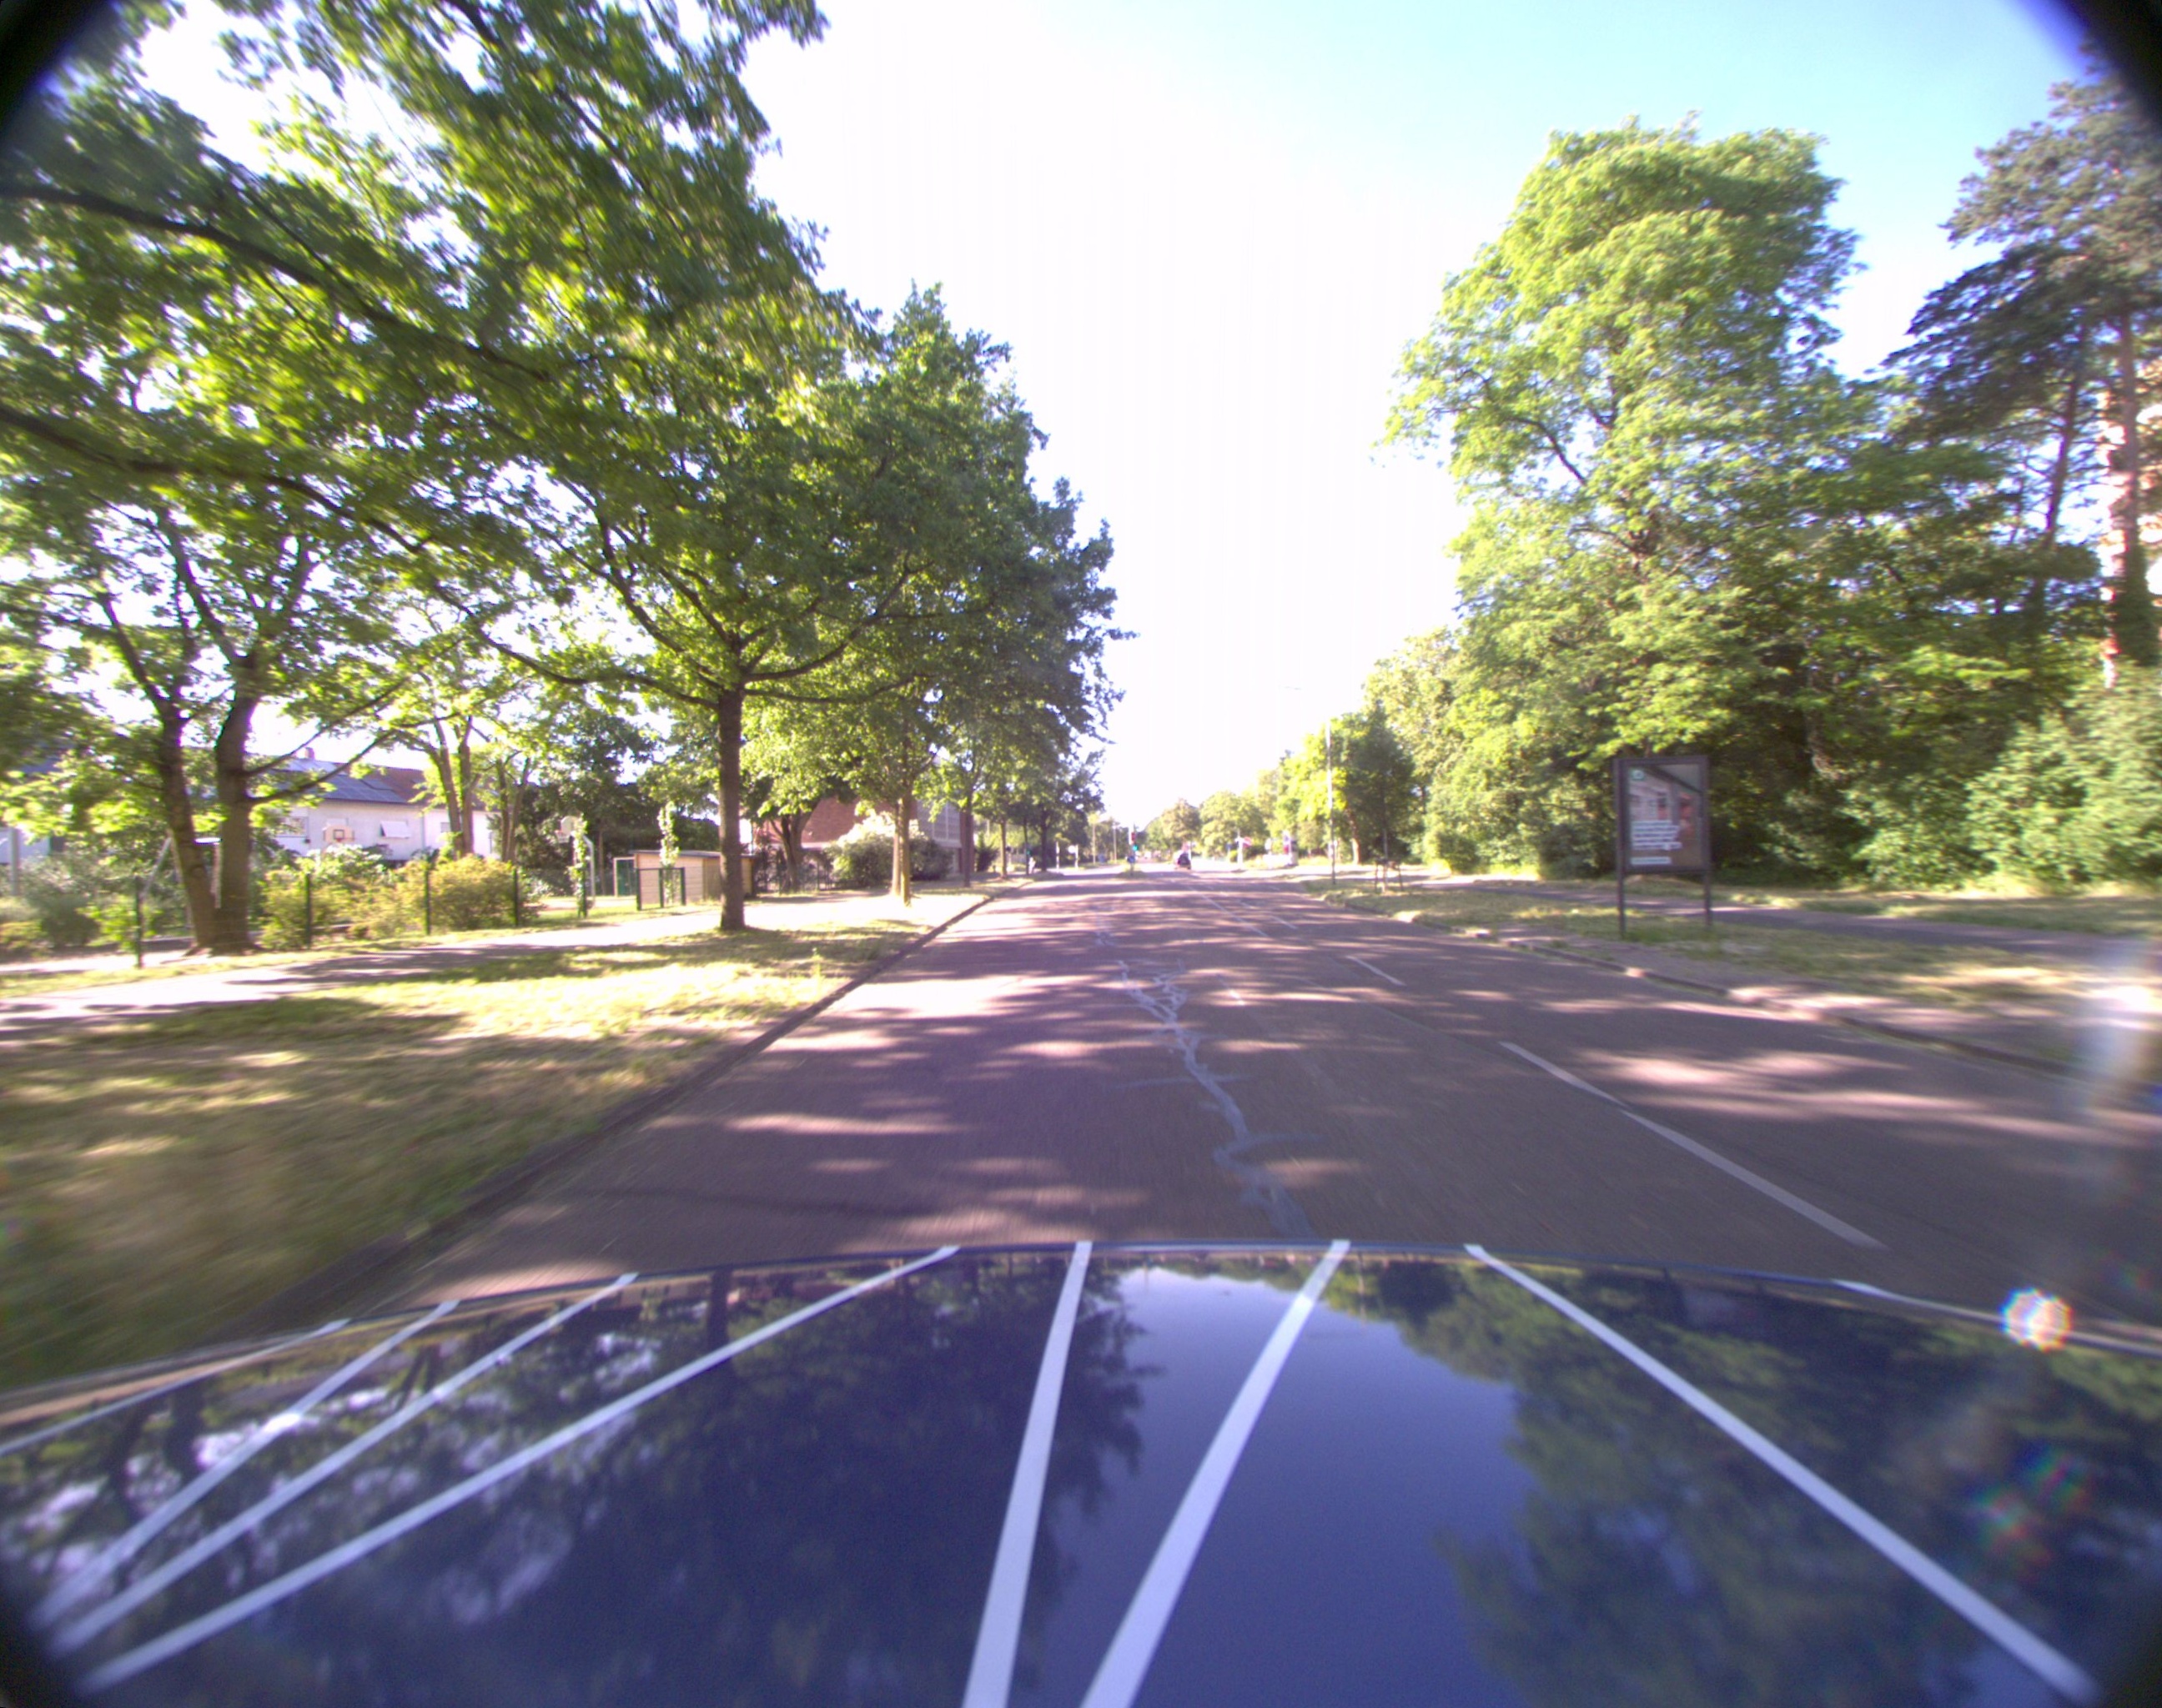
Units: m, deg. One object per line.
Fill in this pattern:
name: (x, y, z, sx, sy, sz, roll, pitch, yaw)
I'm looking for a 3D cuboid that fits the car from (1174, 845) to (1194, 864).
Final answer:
car: (11.677, 0.087, 86.285, 1.904, 2.082, 3.642, 0, 0, 3)
